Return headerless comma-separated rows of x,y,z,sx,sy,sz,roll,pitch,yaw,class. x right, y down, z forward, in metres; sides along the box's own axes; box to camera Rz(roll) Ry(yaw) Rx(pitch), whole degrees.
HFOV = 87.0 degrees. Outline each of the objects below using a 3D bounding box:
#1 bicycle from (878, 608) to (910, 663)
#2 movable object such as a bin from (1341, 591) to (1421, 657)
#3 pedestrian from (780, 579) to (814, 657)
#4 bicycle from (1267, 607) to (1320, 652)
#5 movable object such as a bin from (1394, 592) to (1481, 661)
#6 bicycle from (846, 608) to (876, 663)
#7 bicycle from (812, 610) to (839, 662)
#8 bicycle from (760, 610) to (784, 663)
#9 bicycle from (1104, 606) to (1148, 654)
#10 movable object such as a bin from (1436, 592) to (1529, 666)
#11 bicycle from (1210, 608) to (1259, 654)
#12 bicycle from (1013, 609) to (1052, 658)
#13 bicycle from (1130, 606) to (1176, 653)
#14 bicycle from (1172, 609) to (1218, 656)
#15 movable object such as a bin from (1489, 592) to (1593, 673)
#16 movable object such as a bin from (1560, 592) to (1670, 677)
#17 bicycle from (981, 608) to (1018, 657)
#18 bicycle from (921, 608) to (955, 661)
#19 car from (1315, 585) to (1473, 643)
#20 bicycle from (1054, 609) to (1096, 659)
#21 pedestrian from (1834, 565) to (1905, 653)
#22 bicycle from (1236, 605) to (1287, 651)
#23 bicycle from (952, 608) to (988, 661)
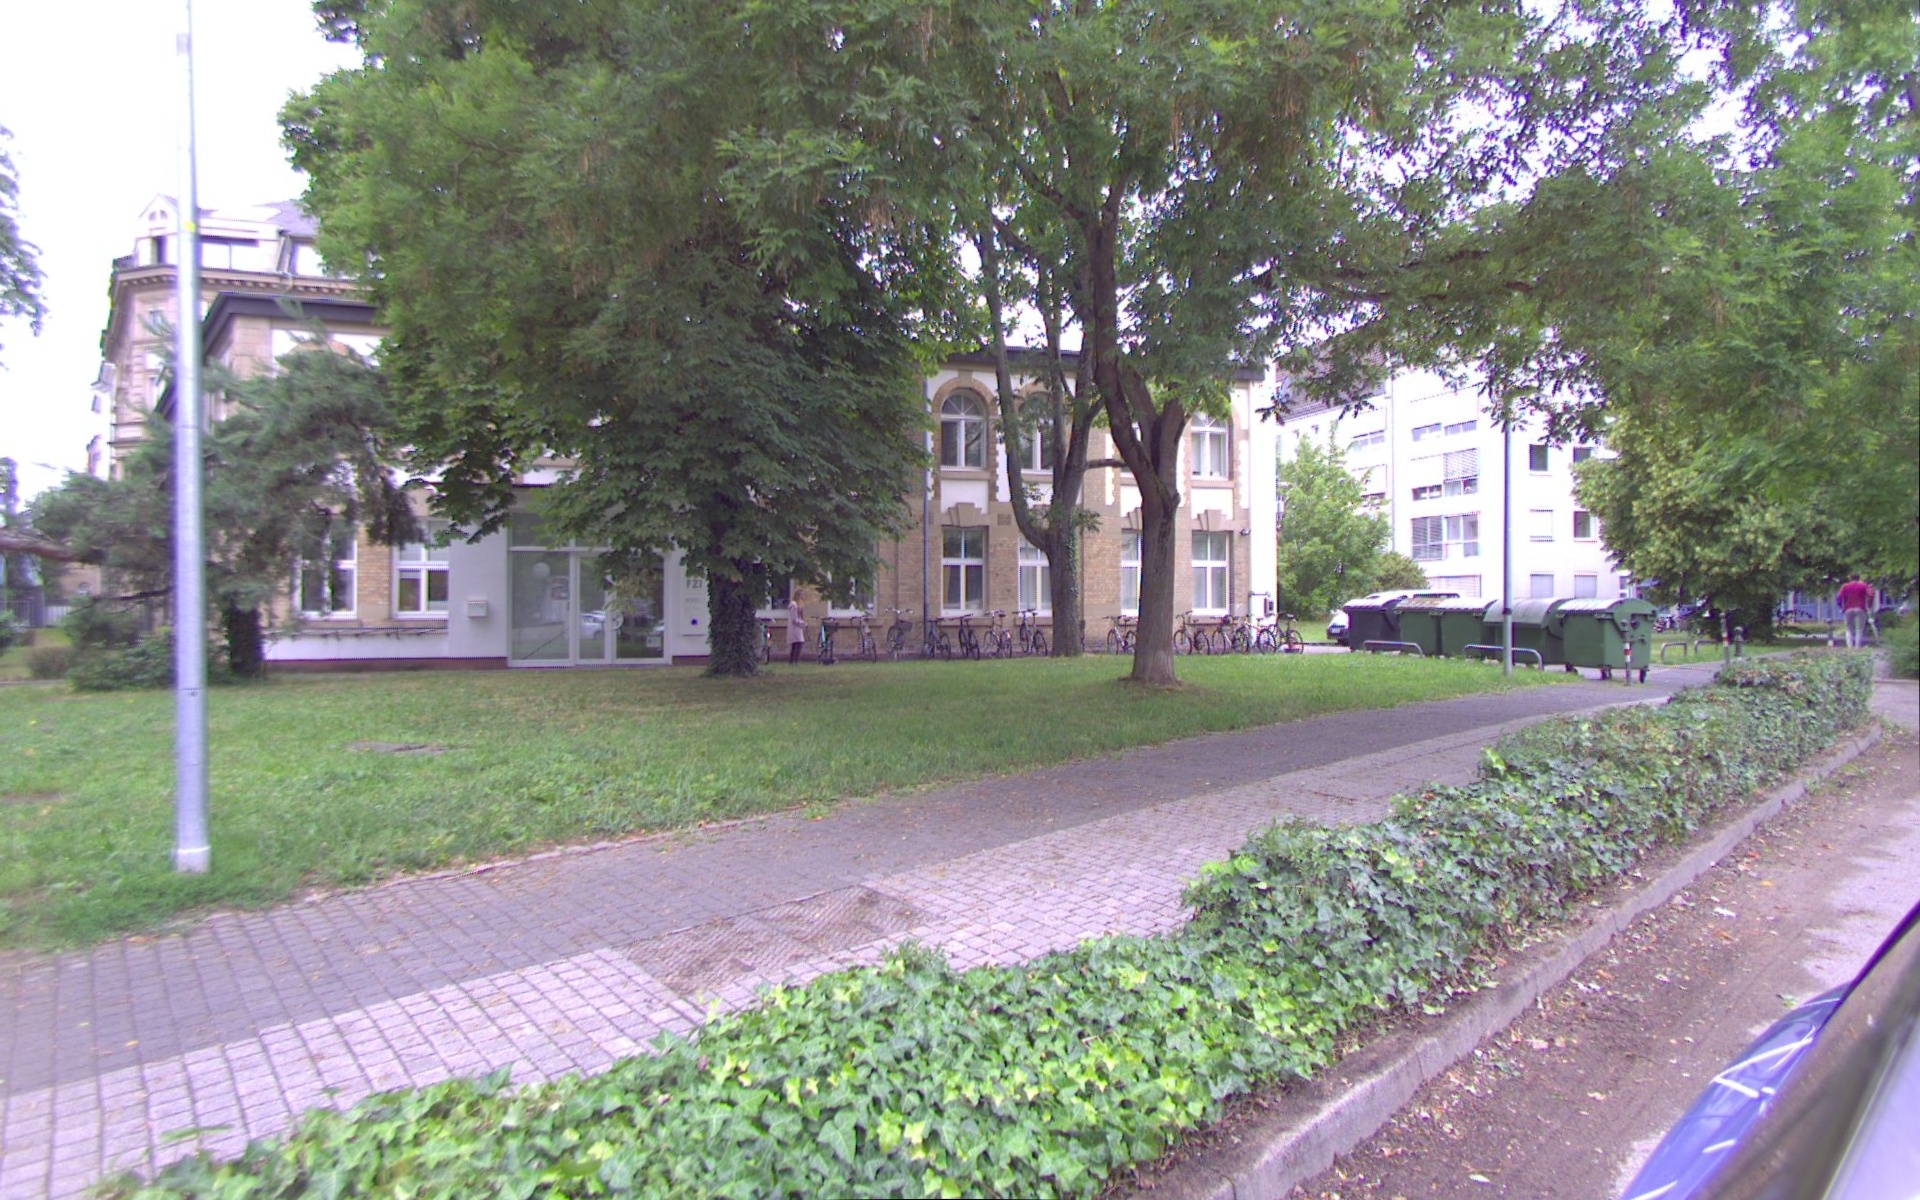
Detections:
-1.541,0.790,23.508,0.451,1.128,1.749,0,3,-13,bicycle
9.845,0.542,23.698,1.085,1.469,1.365,0,-1,-20,movable object such as a bin
-3.404,0.371,21.118,0.614,1.607,0.605,0,0,-15,pedestrian
8.658,0.751,26.361,0.451,1.129,1.748,0,0,-14,bicycle
10.481,0.568,22.263,1.085,1.469,1.329,0,-1,-19,movable object such as a bin
-2.283,0.792,23.184,0.451,1.128,1.748,0,2,-13,bicycle
-3.065,0.791,22.916,0.451,1.129,1.748,0,0,-13,bicycle
-4.189,0.793,22.531,0.451,1.129,1.748,0,0,-13,bicycle
4.093,0.729,25.106,0.451,1.129,1.748,0,0,-13,bicycle
10.752,0.580,20.852,1.085,1.469,1.297,0,-1,-19,movable object such as a bin
7.021,0.765,25.974,0.451,1.129,1.748,0,0,-13,bicycle
1.741,0.786,24.614,0.451,1.129,1.748,0,0,-13,bicycle
4.808,0.719,25.325,0.451,1.129,1.748,0,0,-13,bicycle
5.924,0.791,25.553,0.451,1.129,1.747,0,0,-11,bicycle
11.058,0.594,19.299,1.085,1.469,1.289,0,-1,-18,movable object such as a bin
11.569,0.585,17.911,1.050,1.452,1.277,0,0,-6,movable object such as a bin
0.935,0.761,24.247,0.451,1.129,1.748,0,0,-13,bicycle
-0.525,0.790,23.831,0.451,1.128,1.748,0,1,-13,bicycle
14.852,0.498,34.694,4.673,1.898,1.904,0,-3,-13,car
2.783,0.806,24.602,0.451,1.129,1.748,0,0,-13,bicycle
21.980,0.215,24.462,1.176,2.090,0.796,0,0,-19,pedestrian
7.790,0.702,26.217,0.451,1.129,1.748,0,0,-13,bicycle
0.221,0.787,23.997,0.451,1.128,1.749,0,2,-13,bicycle
